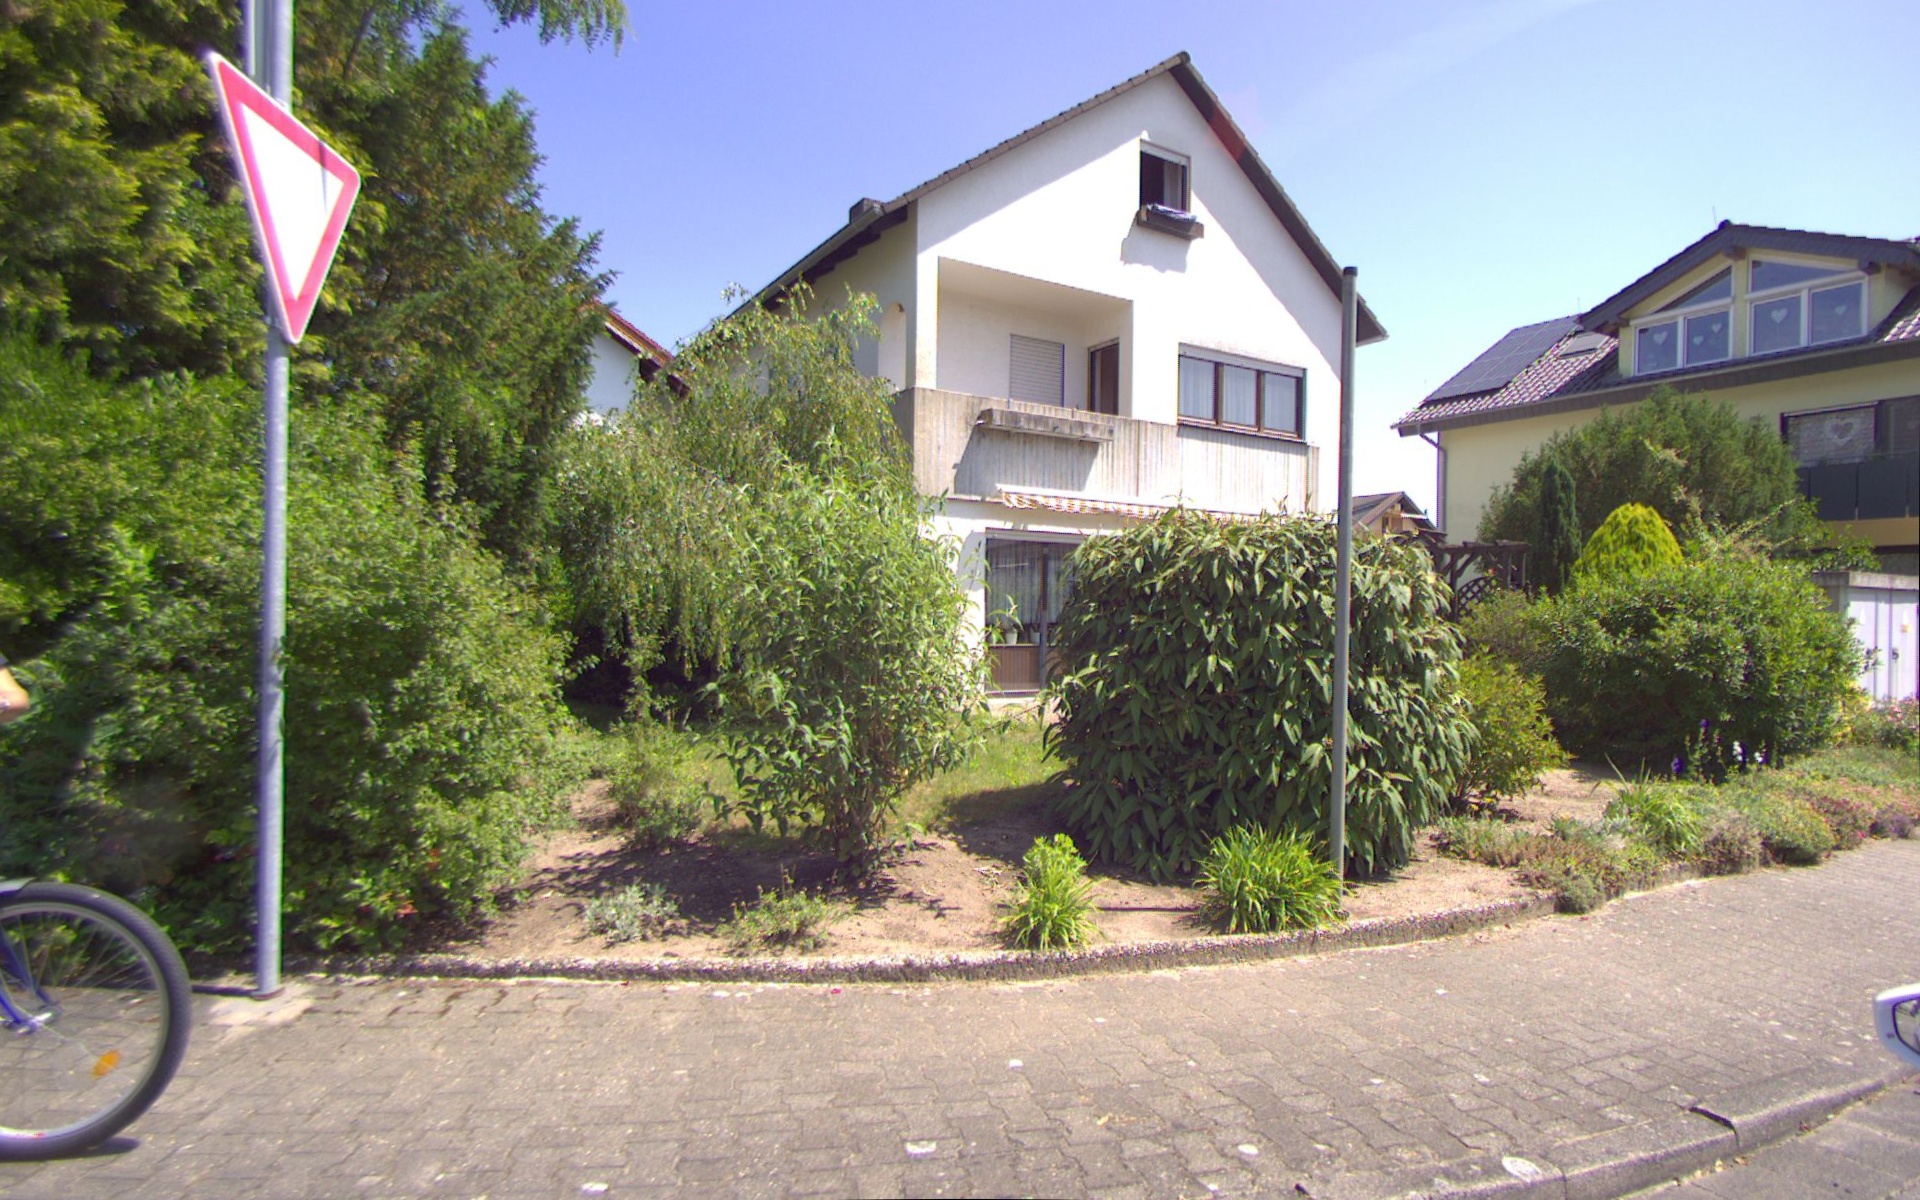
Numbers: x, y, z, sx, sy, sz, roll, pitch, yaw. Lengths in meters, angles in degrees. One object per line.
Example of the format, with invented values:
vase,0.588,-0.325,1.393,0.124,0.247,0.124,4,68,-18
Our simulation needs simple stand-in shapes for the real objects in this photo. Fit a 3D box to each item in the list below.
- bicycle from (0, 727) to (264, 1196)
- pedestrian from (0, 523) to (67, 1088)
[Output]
bicycle,-2.733,0.818,2.325,1.815,0.977,0.442,1,0,-10
pedestrian,-2.874,0.550,2.646,0.601,1.521,0.503,1,0,-13
